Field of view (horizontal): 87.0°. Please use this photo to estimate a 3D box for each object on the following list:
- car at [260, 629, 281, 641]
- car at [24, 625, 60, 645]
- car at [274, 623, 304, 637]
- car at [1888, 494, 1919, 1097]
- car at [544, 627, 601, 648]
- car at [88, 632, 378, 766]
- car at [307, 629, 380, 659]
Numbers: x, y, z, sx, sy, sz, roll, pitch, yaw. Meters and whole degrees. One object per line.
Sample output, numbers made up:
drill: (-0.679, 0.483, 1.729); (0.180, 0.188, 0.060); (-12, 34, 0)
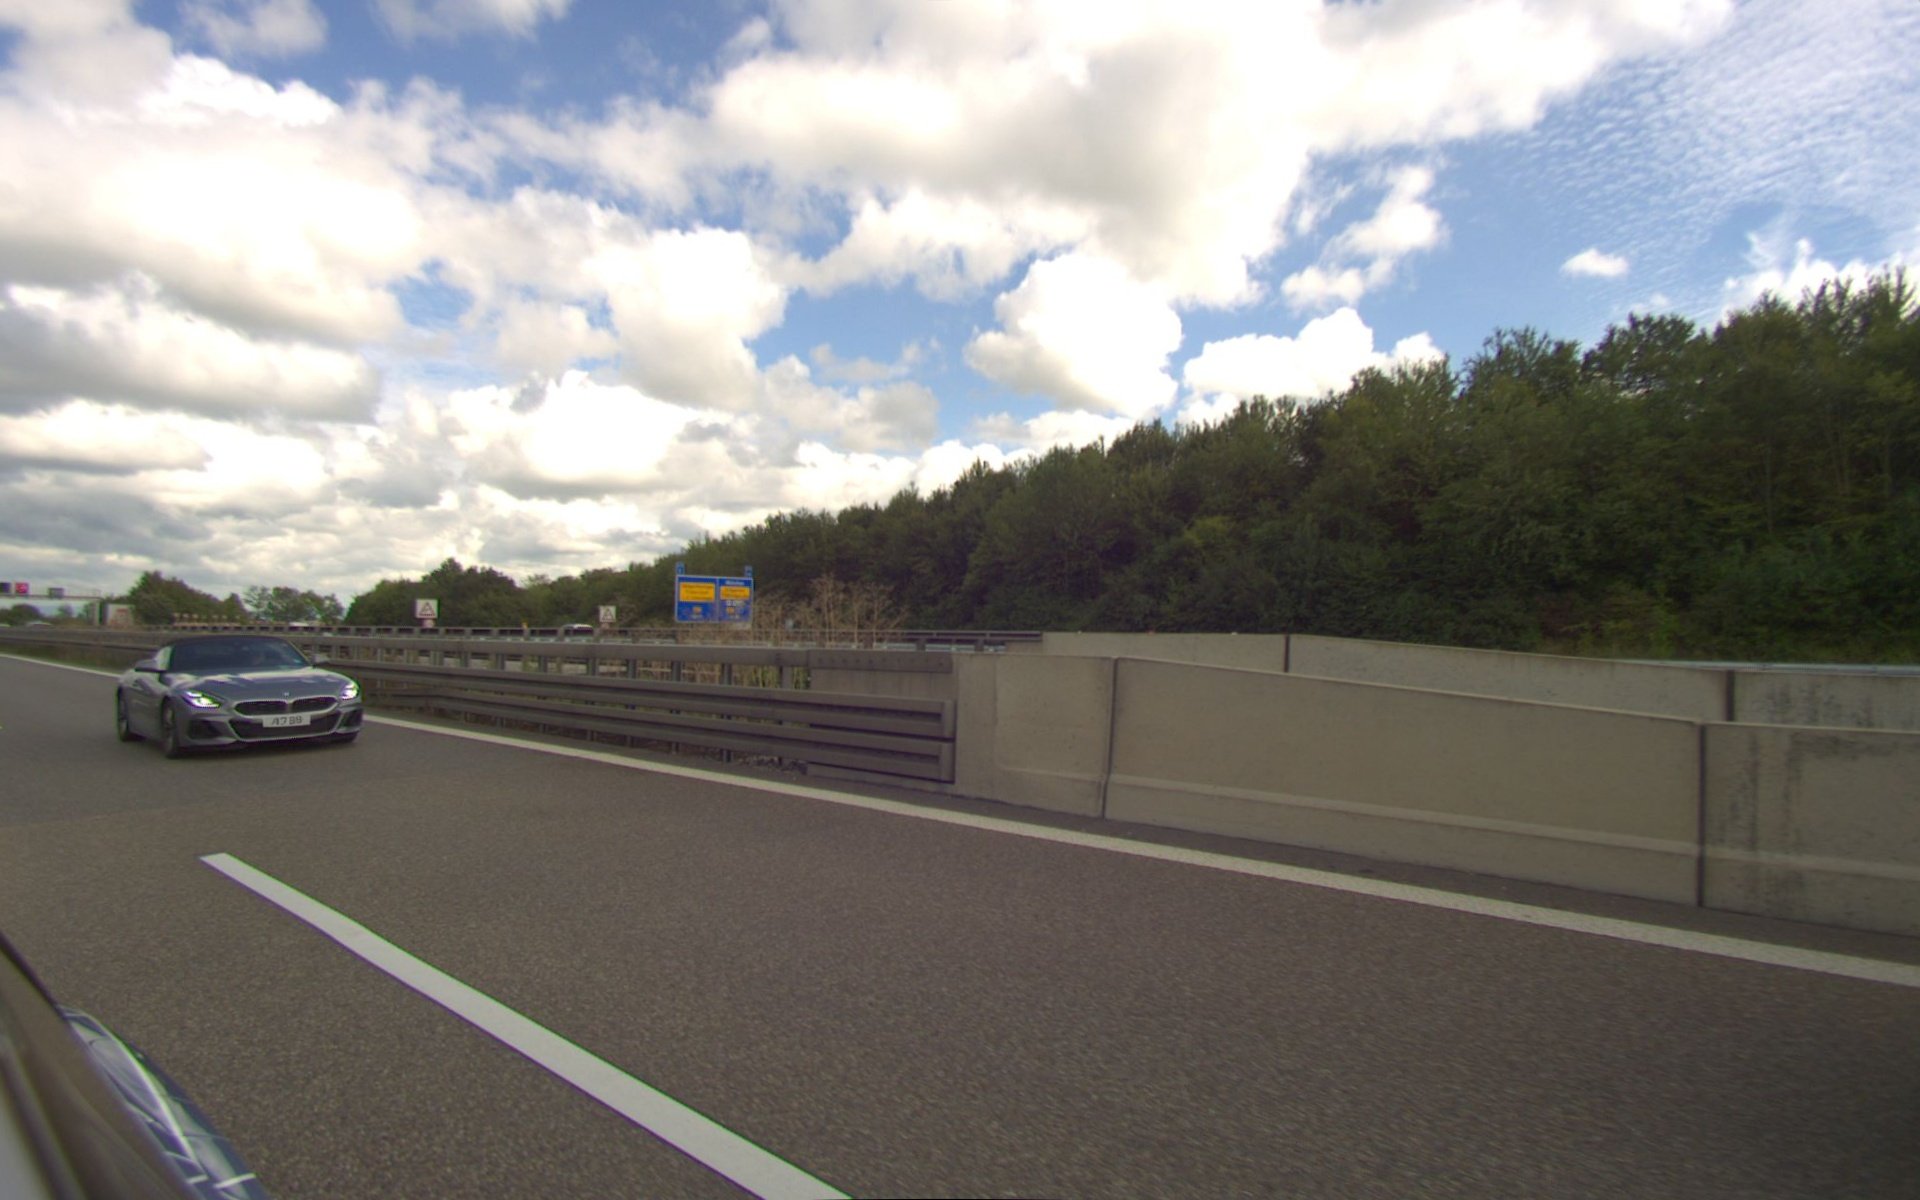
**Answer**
car: (-104.273, 5.275, 153.058); (1.789, 1.648, 5.012); (1, -2, -43)
car: (-75.260, 2.852, 82.989); (4.171, 1.589, 1.658); (-1, -2, 41)
car: (-82.231, 3.677, 123.977); (5.008, 1.589, 1.752); (-2, -2, 41)
car: (4.678, 0.522, 0.954); (5.497, 1.648, 1.892); (-1, -1, 41)
car: (-25.380, 2.447, 66.225); (4.245, 1.325, 1.625); (-1, -2, 41)
car: (-9.192, 1.079, 12.614); (4.939, 1.312, 1.854); (-1, -1, 41)
car: (-28.566, 2.010, 46.838); (4.245, 1.325, 1.625); (-1, -4, 41)
